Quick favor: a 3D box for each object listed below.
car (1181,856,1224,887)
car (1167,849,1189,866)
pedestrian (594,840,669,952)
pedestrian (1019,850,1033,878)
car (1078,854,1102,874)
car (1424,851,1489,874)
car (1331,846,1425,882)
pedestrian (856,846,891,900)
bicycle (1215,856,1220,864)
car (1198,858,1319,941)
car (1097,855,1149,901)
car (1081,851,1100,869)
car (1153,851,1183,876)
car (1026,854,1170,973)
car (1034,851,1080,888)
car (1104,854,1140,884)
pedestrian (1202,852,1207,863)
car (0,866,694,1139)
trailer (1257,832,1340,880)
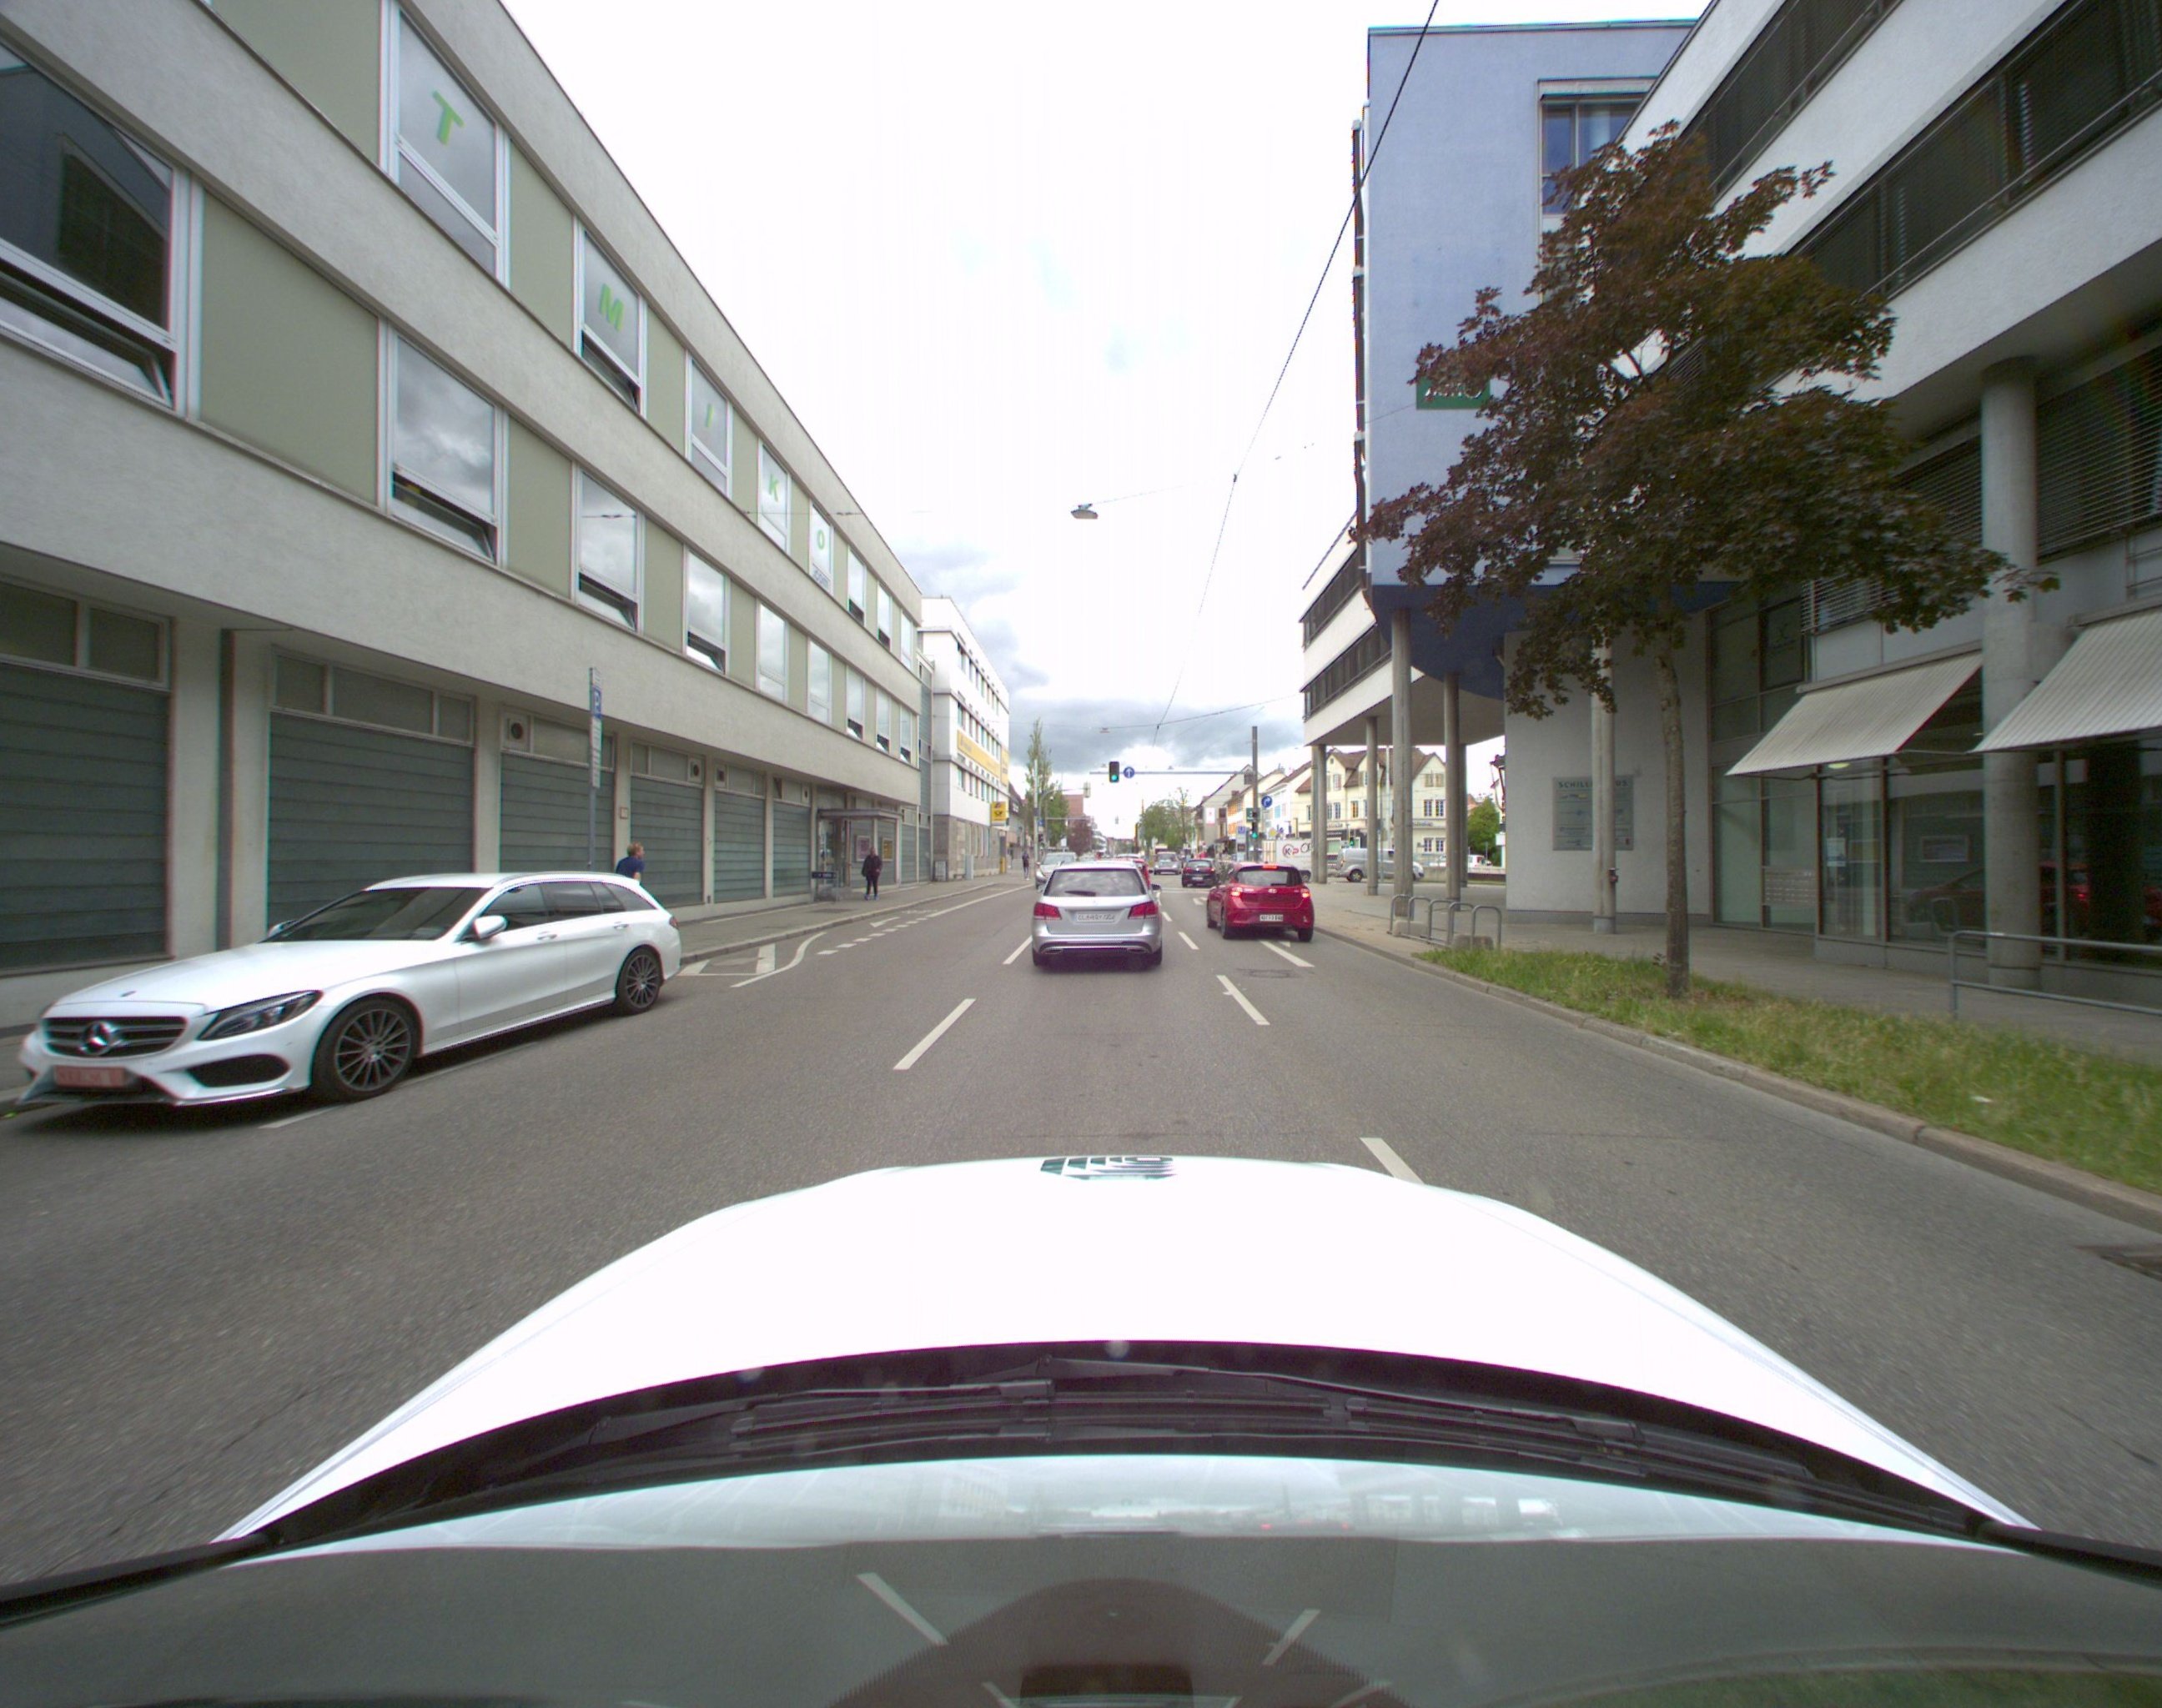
[{"bbox_3d":[6.136,0.839,40.749,1.722,1.410,4.015,-1,0,14],"label":"car"},{"bbox_3d":[9.937,0.348,83.742,1.822,1.785,4.000,0,0,1],"label":"car"},{"bbox_3d":[-7.198,0.645,13.086,0.587,1.718,1.055,-1,0,0],"label":"pedestrian"},{"bbox_3d":[-3.290,0.594,49.127,0.644,1.718,0.785,1,0,9],"label":"pedestrian"},{"bbox_3d":[0.738,0.717,61.844,1.650,1.466,3.923,-1,0,3],"label":"car"},{"bbox_3d":[32.332,0.730,70.270,1.999,1.919,4.730,2,-1,-37],"label":"car"},{"bbox_3d":[17.463,0.581,48.083,4.862,1.945,1.888,2,0,8],"label":"car"},{"bbox_3d":[-6.865,0.613,26.957,0.859,1.718,1.031,1,0,0],"label":"pedestrian"},{"bbox_3d":[17.836,0.753,106.205,0.446,1.091,2.151,0,0,3],"label":"bicycle"},{"bbox_3d":[3.524,0.836,16.846,1.692,1.452,4.001,2,0,1],"label":"car"},{"bbox_3d":[1.458,0.781,28.864,1.727,1.508,4.002,0,0,2],"label":"car"},{"bbox_3d":[0.988,0.597,82.524,1.792,1.694,3.900,-1,0,3],"label":"car"},{"bbox_3d":[6.454,0.689,60.142,1.722,1.759,4.014,-1,0,13],"label":"car"},{"bbox_3d":[0.238,0.763,12.580,1.839,1.508,4.171,-1,0,0],"label":"car"},{"bbox_3d":[-1.059,0.702,38.702,1.768,1.632,4.772,-1,0,3],"label":"car"},{"bbox_3d":[2.114,0.756,42.728,1.728,1.508,4.000,-1,0,0],"label":"car"},{"bbox_3d":[17.251,0.508,113.715,0.577,1.469,0.649,1,0,-7],"label":"pedestrian"},{"bbox_3d":[-5.345,0.881,6.877,1.662,1.434,4.558,-2,0,4],"label":"car"},{"bbox_3d":[12.746,0.137,47.798,4.320,2.613,1.873,2,0,-18],"label":"trailer"}]
